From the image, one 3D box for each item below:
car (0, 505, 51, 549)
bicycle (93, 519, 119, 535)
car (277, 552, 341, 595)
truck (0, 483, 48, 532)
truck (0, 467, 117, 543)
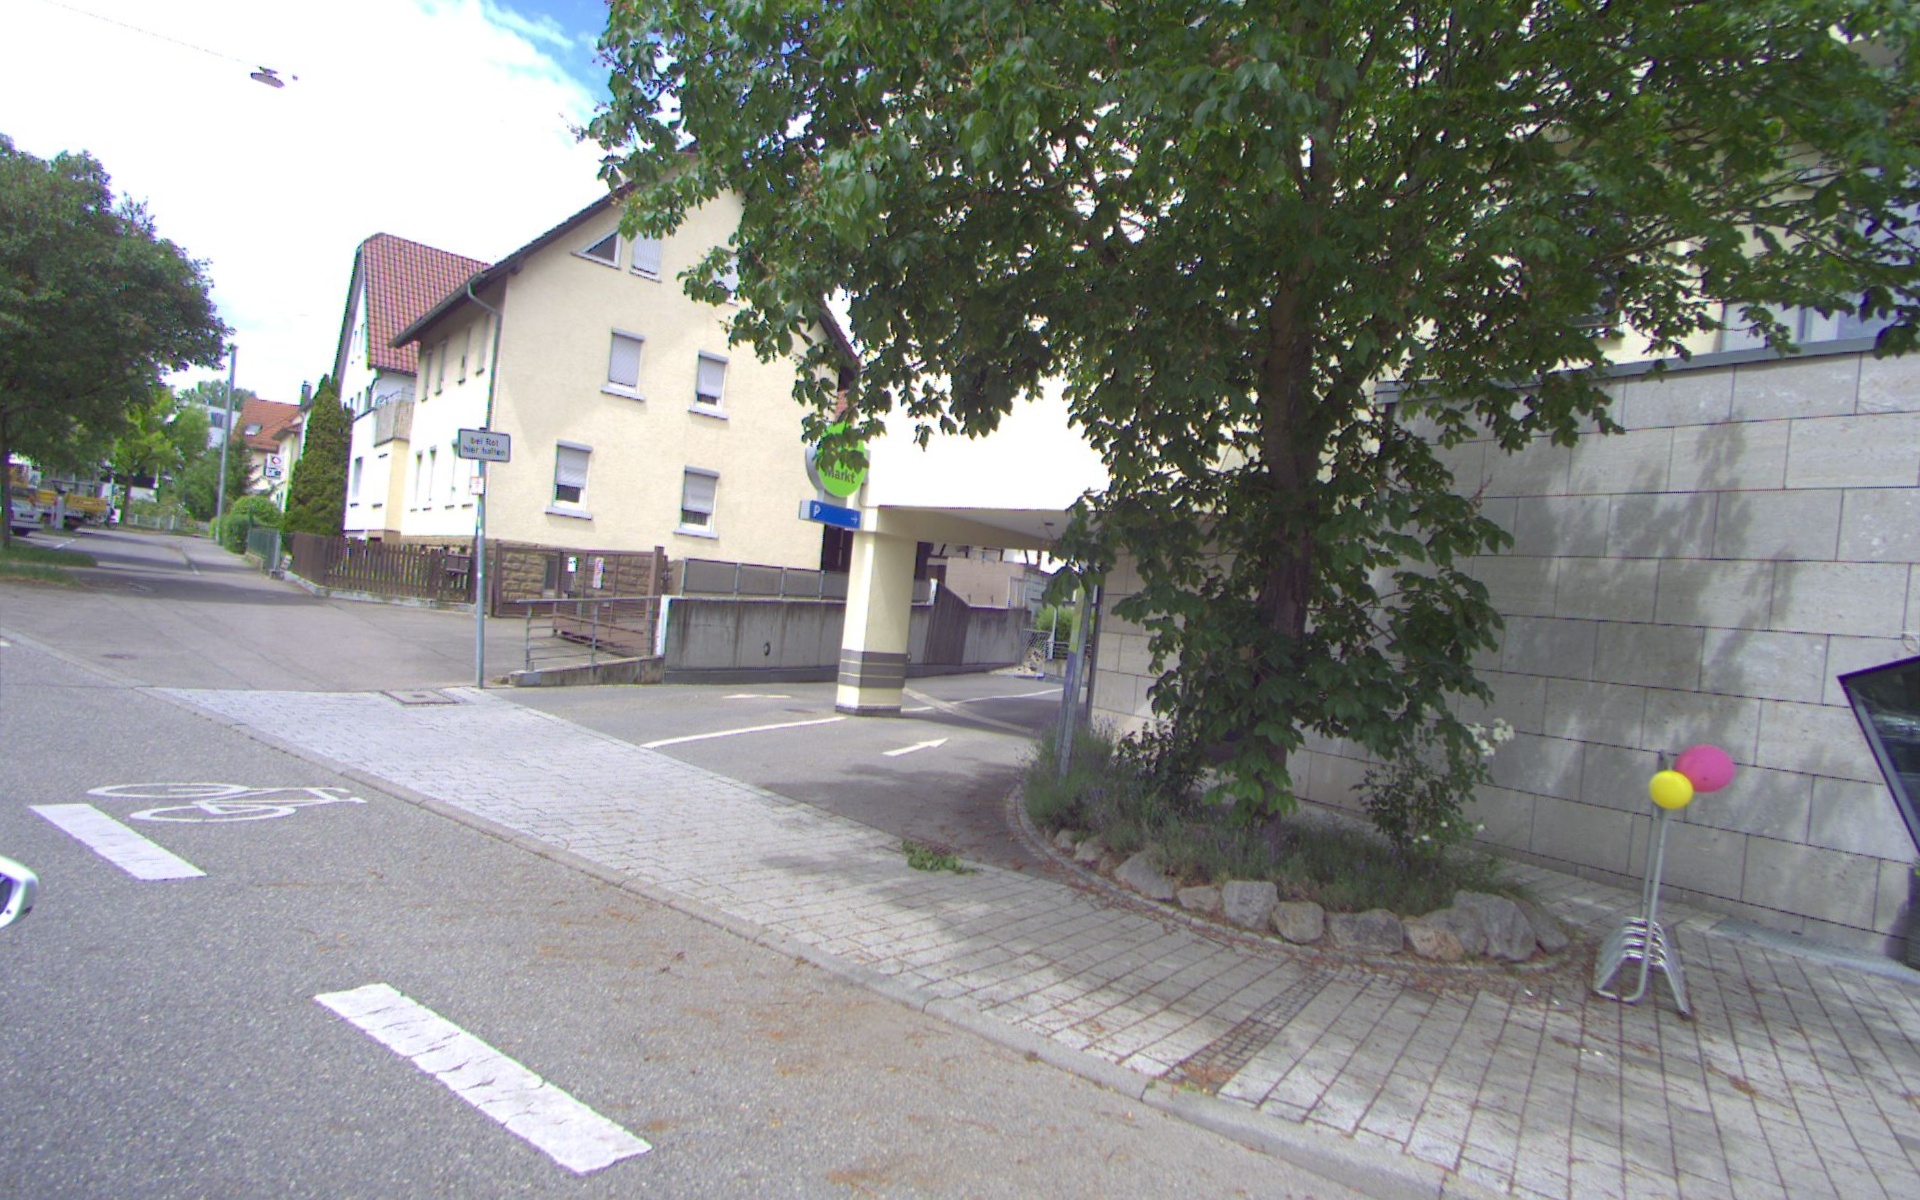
[{"bbox_3d":[-37.958,-3.067,38.479,4.603,1.469,1.768,8,-1,-1],"label":"car"},{"bbox_3d":[-52.341,-4.476,61.627,1.724,0.821,0.596,6,-3,30],"label":"bicycle"},{"bbox_3d":[-21.651,-0.881,33.408,1.455,1.137,3.835,9,-4,-36],"label":"car"},{"bbox_3d":[-48.317,-4.841,48.990,5.575,2.036,2.001,8,-3,-3],"label":"truck"},{"bbox_3d":[-48.371,-5.079,52.117,6.586,3.041,2.772,8,-3,-3],"label":"truck"}]
